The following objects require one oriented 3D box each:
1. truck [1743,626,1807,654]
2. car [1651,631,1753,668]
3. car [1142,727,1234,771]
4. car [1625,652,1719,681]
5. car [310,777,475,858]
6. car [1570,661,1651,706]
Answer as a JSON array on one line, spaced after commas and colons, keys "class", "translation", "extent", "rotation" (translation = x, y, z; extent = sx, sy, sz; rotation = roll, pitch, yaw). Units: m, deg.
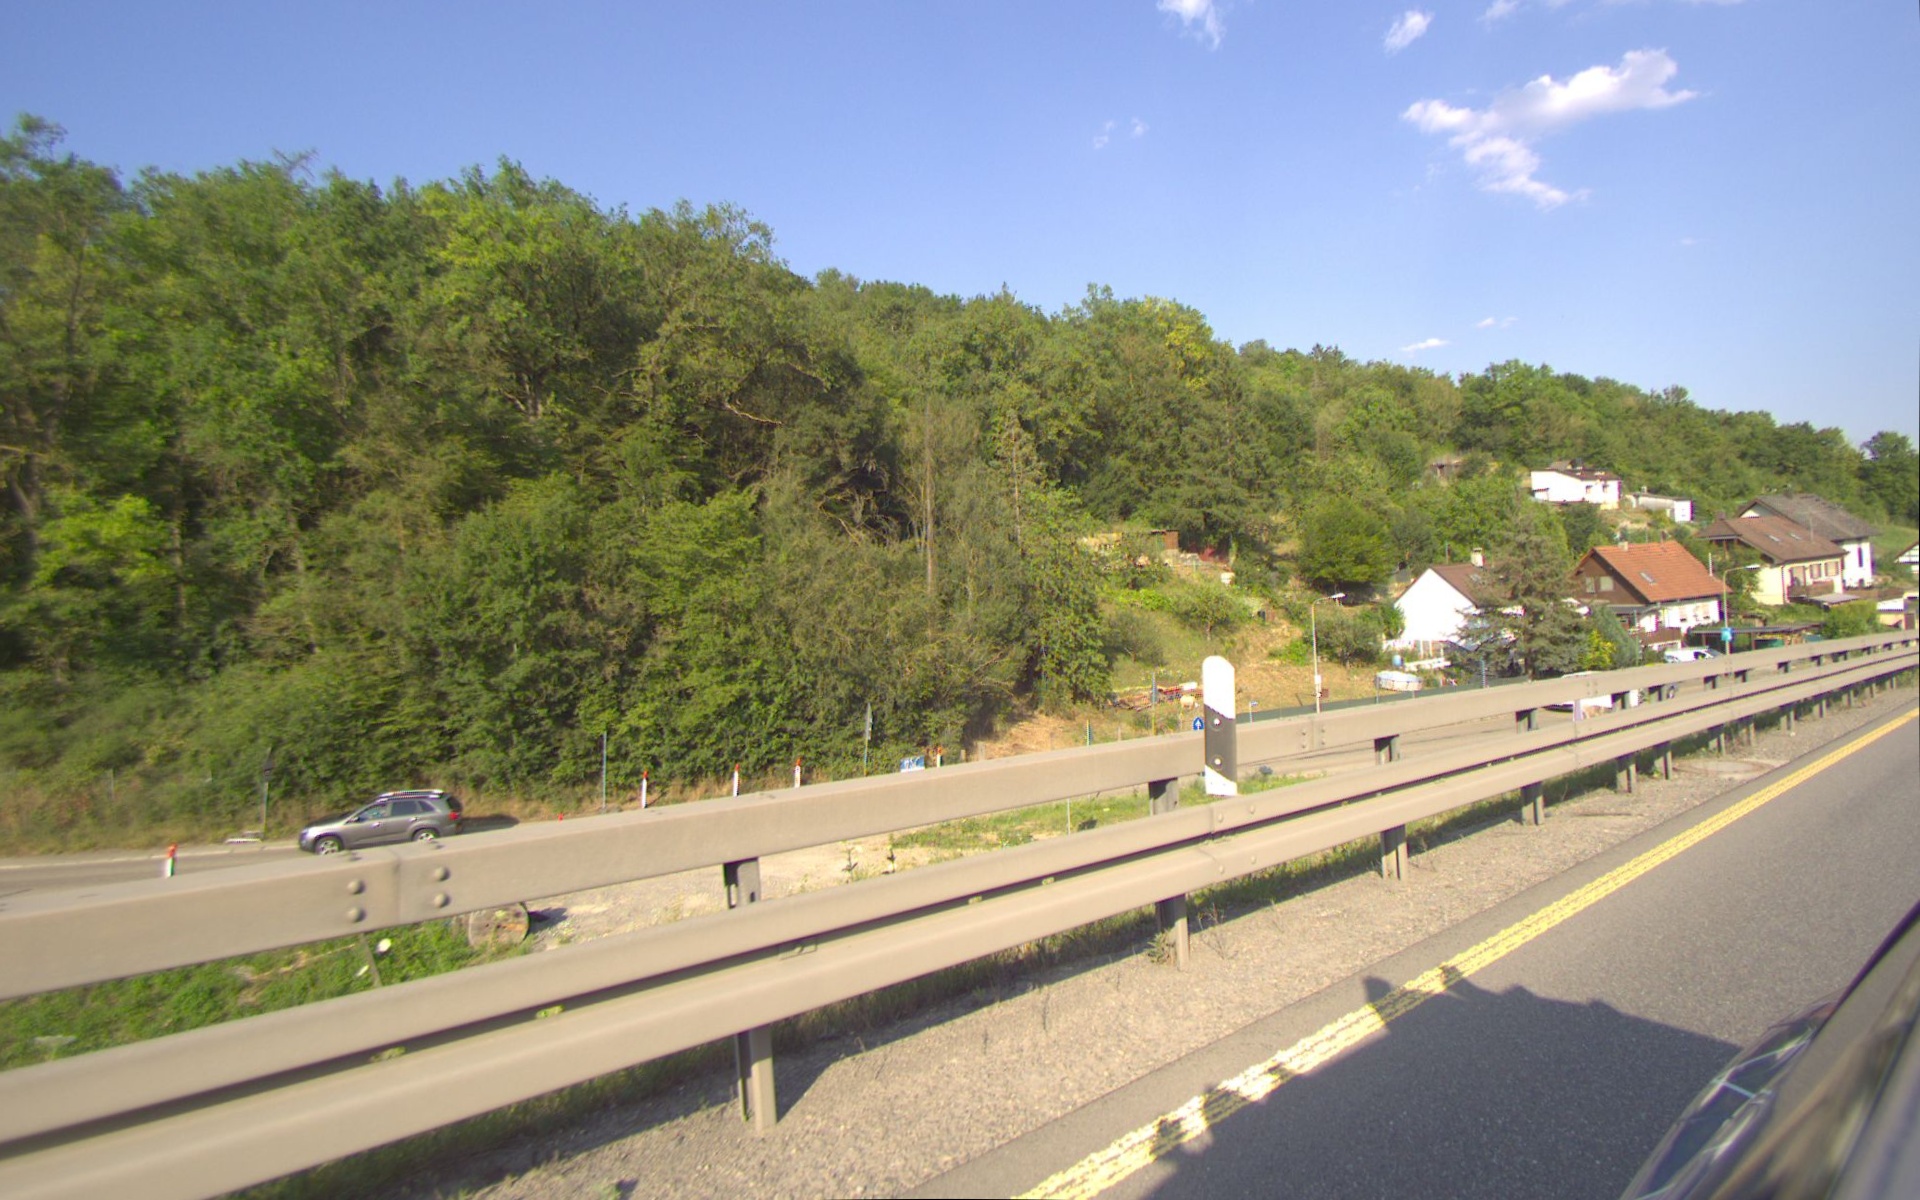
[{"class": "truck", "translation": [61.747, 3.001, 76.766], "extent": [1.969, 1.760, 3.986], "rotation": [-7, -2, 11]}, {"class": "car", "translation": [52.767, 3.505, 72.134], "extent": [1.960, 2.292, 5.490], "rotation": [-2, 1, -29]}, {"class": "car", "translation": [10.087, 6.559, 44.754], "extent": [3.541, 1.619, 1.776], "rotation": [0, -3, -21]}, {"class": "car", "translation": [49.569, 4.582, 70.553], "extent": [1.681, 1.576, 5.113], "rotation": [-2, 1, -29]}, {"class": "car", "translation": [-17.990, 6.883, 32.333], "extent": [4.404, 1.807, 1.872], "rotation": [0, 0, -23]}, {"class": "car", "translation": [38.082, 4.825, 59.227], "extent": [4.951, 2.010, 1.871], "rotation": [-3, 2, -29]}]
